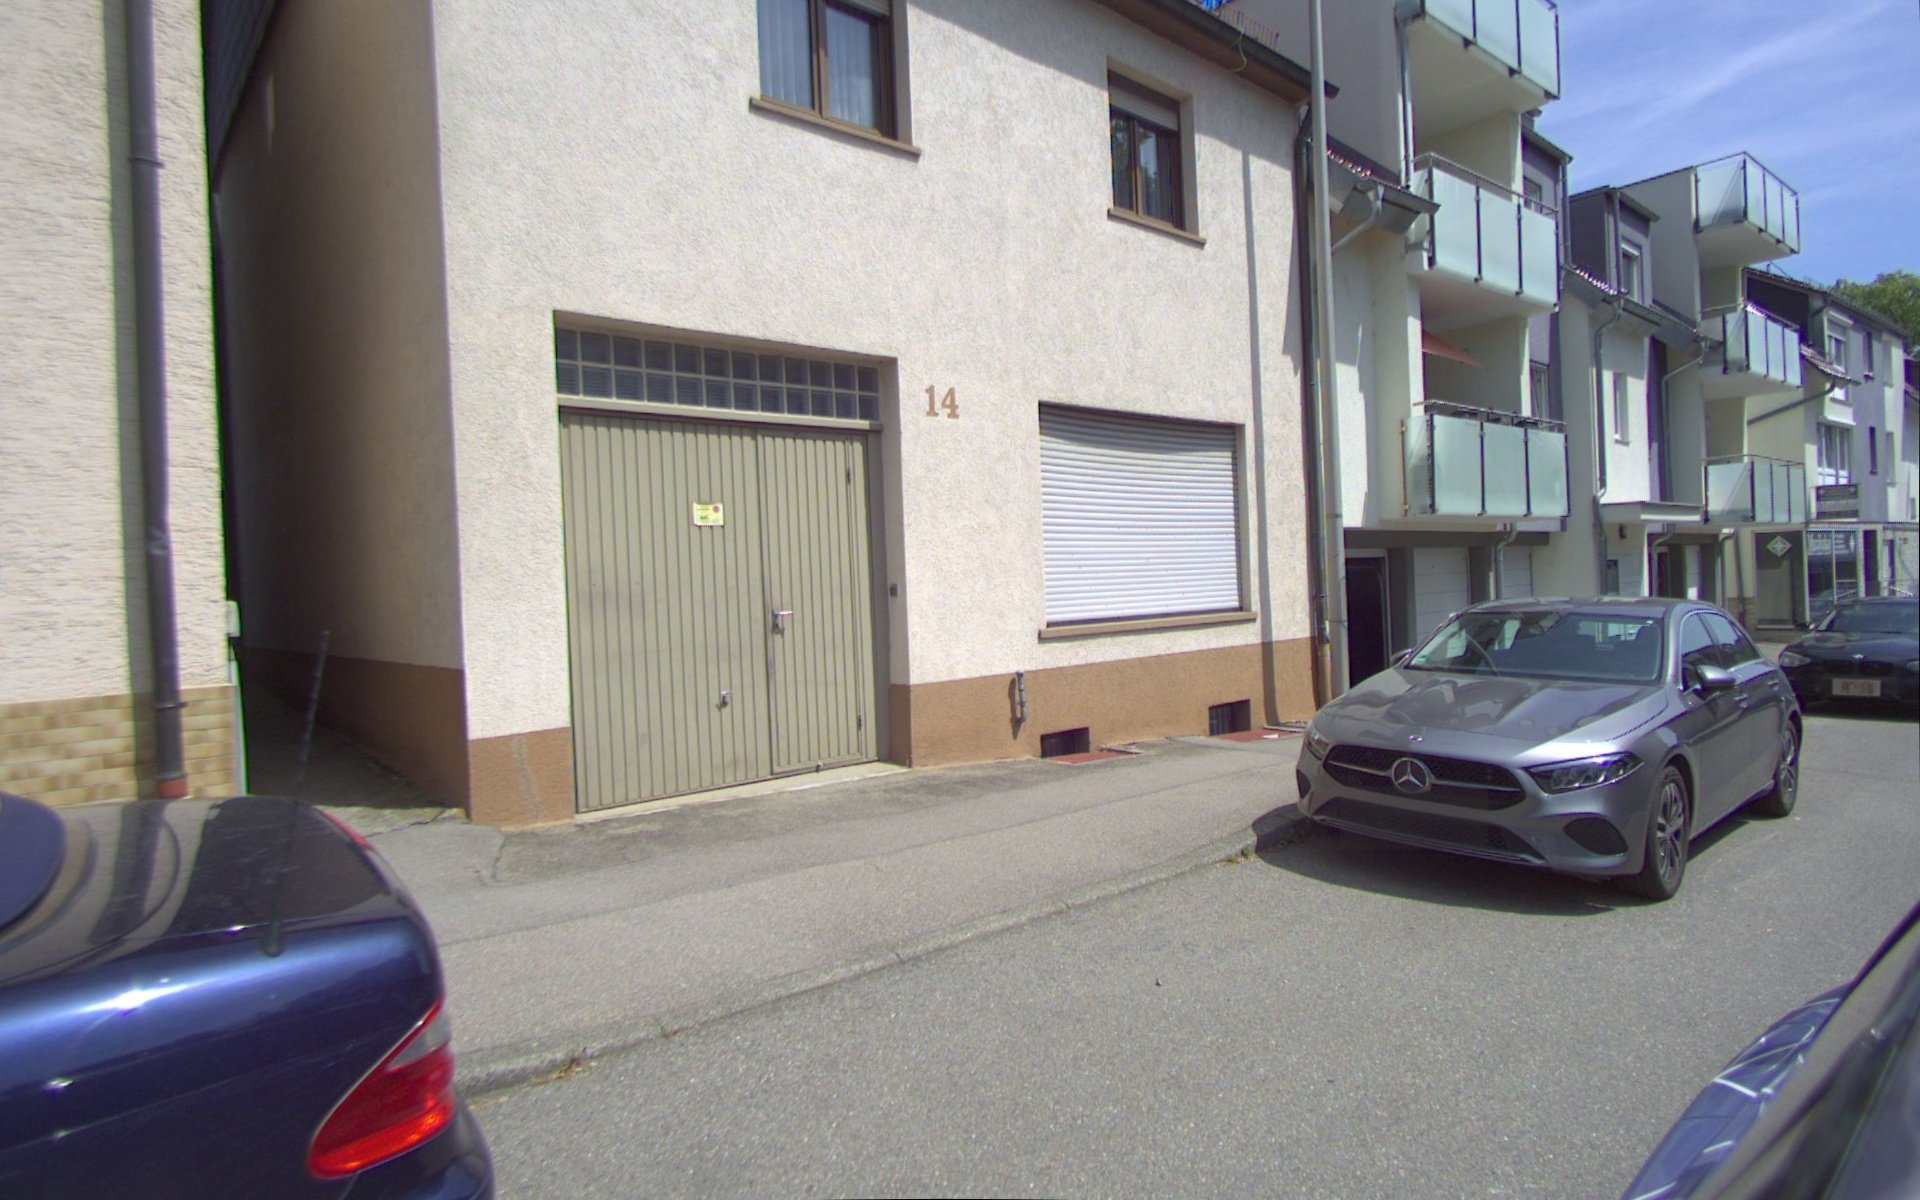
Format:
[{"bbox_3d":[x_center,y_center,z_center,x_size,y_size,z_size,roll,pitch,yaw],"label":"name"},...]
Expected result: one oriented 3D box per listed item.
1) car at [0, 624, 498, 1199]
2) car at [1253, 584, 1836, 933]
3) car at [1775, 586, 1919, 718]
[{"bbox_3d":[-2.696,0.755,0.600,4.117,1.370,1.667,0,0,-43],"label":"car"},{"bbox_3d":[3.825,0.626,6.260,4.334,1.420,1.797,0,1,-41],"label":"car"},{"bbox_3d":[12.179,0.559,12.923,4.211,1.442,1.802,-1,1,-37],"label":"car"}]
